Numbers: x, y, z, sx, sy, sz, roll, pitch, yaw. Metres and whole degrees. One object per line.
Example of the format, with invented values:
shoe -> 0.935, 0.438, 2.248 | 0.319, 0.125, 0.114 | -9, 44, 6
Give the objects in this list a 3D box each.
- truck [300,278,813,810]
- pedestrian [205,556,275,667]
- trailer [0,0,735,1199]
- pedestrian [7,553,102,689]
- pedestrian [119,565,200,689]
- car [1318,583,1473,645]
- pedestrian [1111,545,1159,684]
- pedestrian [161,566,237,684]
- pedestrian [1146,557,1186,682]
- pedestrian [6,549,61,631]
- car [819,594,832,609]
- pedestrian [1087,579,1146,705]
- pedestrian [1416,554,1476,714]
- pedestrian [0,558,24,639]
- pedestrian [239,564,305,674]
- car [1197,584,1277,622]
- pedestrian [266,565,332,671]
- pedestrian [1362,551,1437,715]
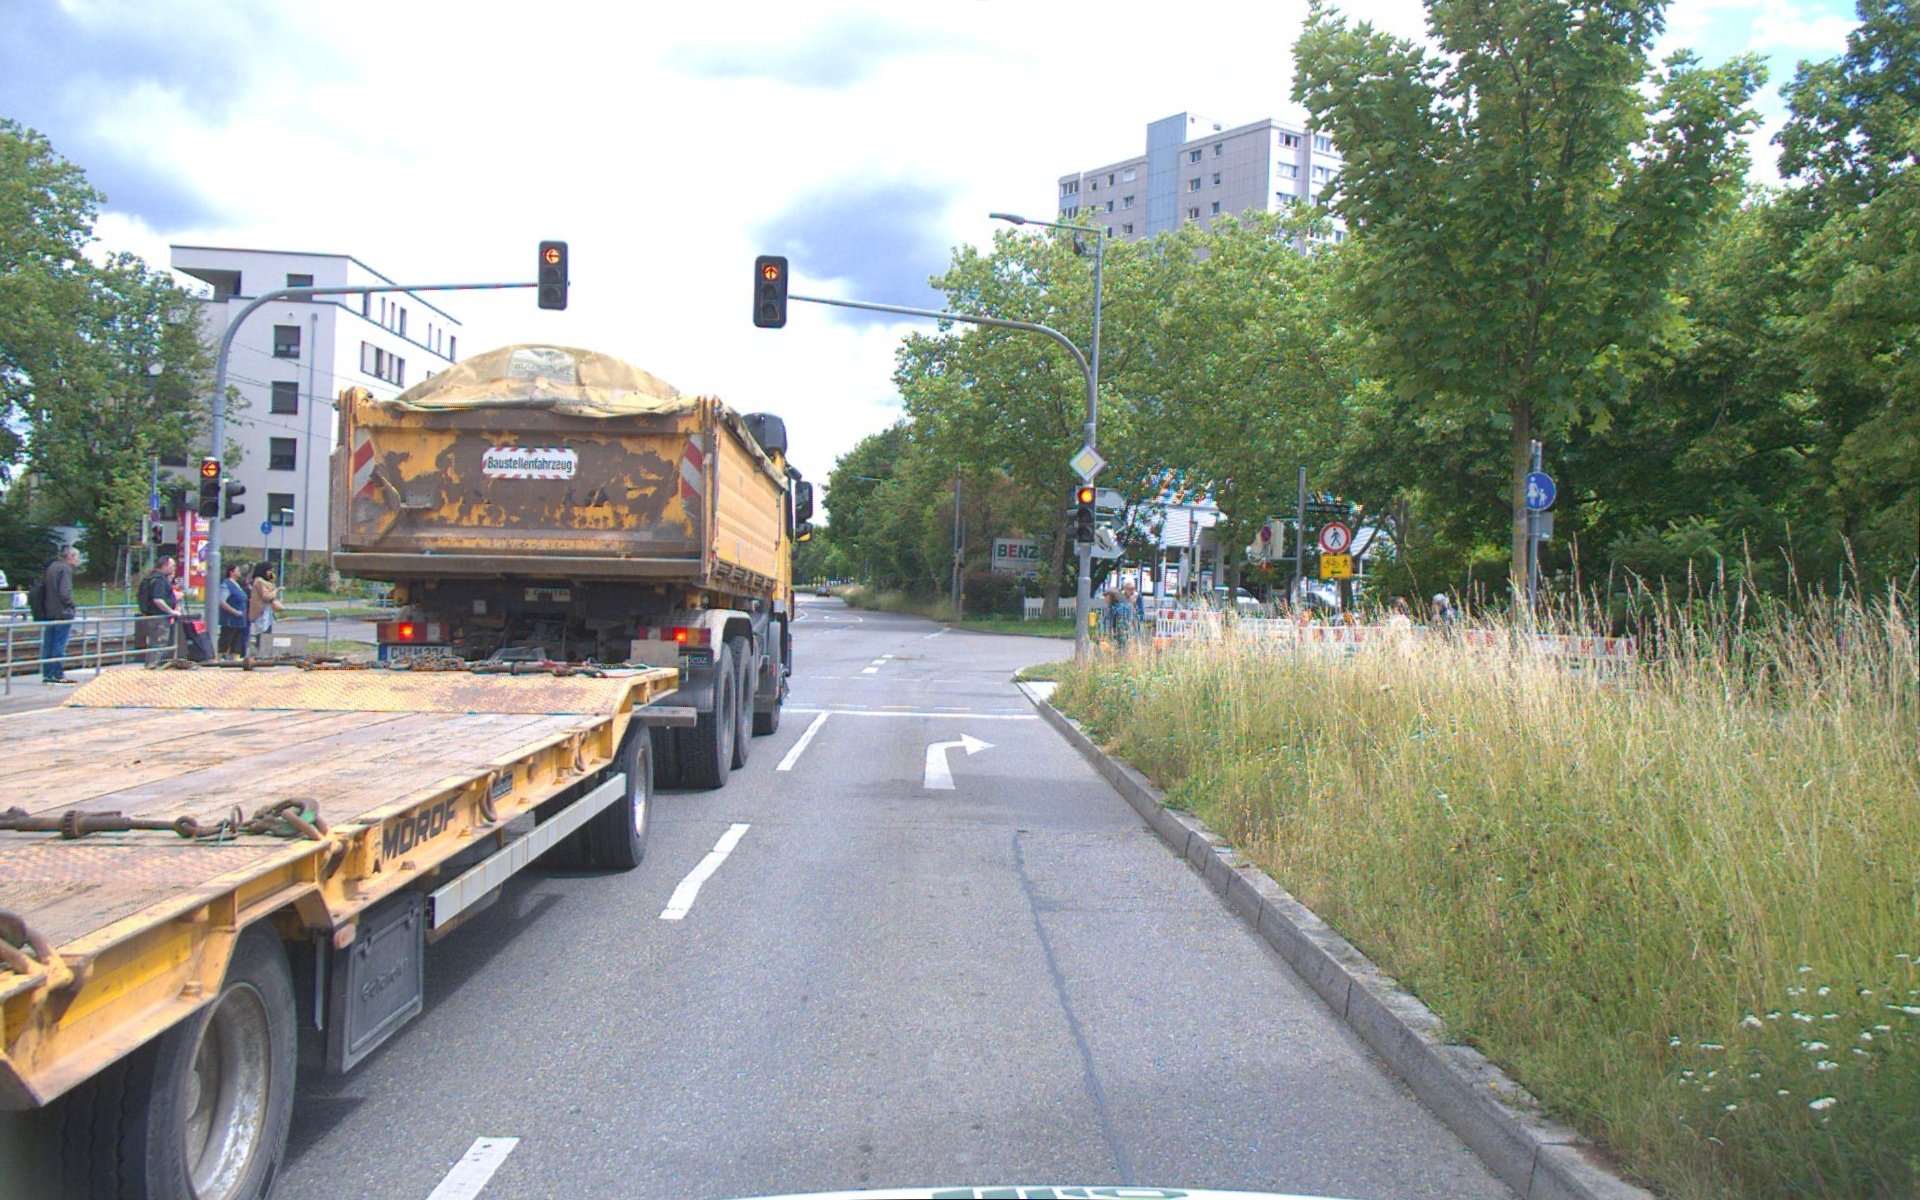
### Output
truck -> -2.995, -0.388, 14.968 | 2.698, 3.371, 8.349 | 2, 0, -2
pedestrian -> -10.907, 0.167, 25.069 | 0.668, 1.630, 0.822 | 2, 0, -2
trailer -> -2.732, -0.566, 5.144 | 2.674, 3.621, 11.250 | 2, 0, -1
pedestrian -> -11.731, 0.265, 21.450 | 0.803, 1.697, 0.683 | 2, 0, -1
pedestrian -> -10.882, 0.354, 22.494 | 0.668, 1.630, 0.822 | 2, 0, -2
car -> 12.568, 0.392, 47.888 | 3.907, 1.635, 1.999 | 2, 0, -2
pedestrian -> 2.636, 0.219, 24.901 | 0.551, 2.049, 0.490 | 2, -1, -11
pedestrian -> -10.890, 0.346, 23.685 | 0.668, 1.630, 0.822 | 2, 0, -2
pedestrian -> 3.430, 0.327, 27.548 | 0.490, 2.049, 0.490 | 2, -1, -10
pedestrian -> -25.234, -0.281, 45.065 | 0.896, 2.171, 0.935 | 2, 0, -2
car -> -19.016, 0.222, 233.557 | 1.657, 1.959, 3.995 | 2, 0, -6
pedestrian -> 2.147, 0.569, 22.661 | 0.614, 1.682, 0.562 | 1, -1, 25
pedestrian -> 6.348, 0.442, 21.607 | 0.551, 2.049, 0.490 | 2, -1, -11
pedestrian -> -26.401, -0.056, 45.317 | 0.896, 2.171, 0.935 | 2, 0, -2
pedestrian -> -10.895, 0.297, 26.203 | 0.668, 1.699, 0.822 | 2, 0, -2
car -> 14.330, 0.139, 85.530 | 3.961, 1.814, 1.972 | 2, 0, -39
pedestrian -> -10.869, 0.291, 27.239 | 0.818, 1.699, 0.936 | 2, 0, -13
pedestrian -> 5.607, 0.420, 21.119 | 0.659, 2.049, 0.633 | 2, -1, -11
